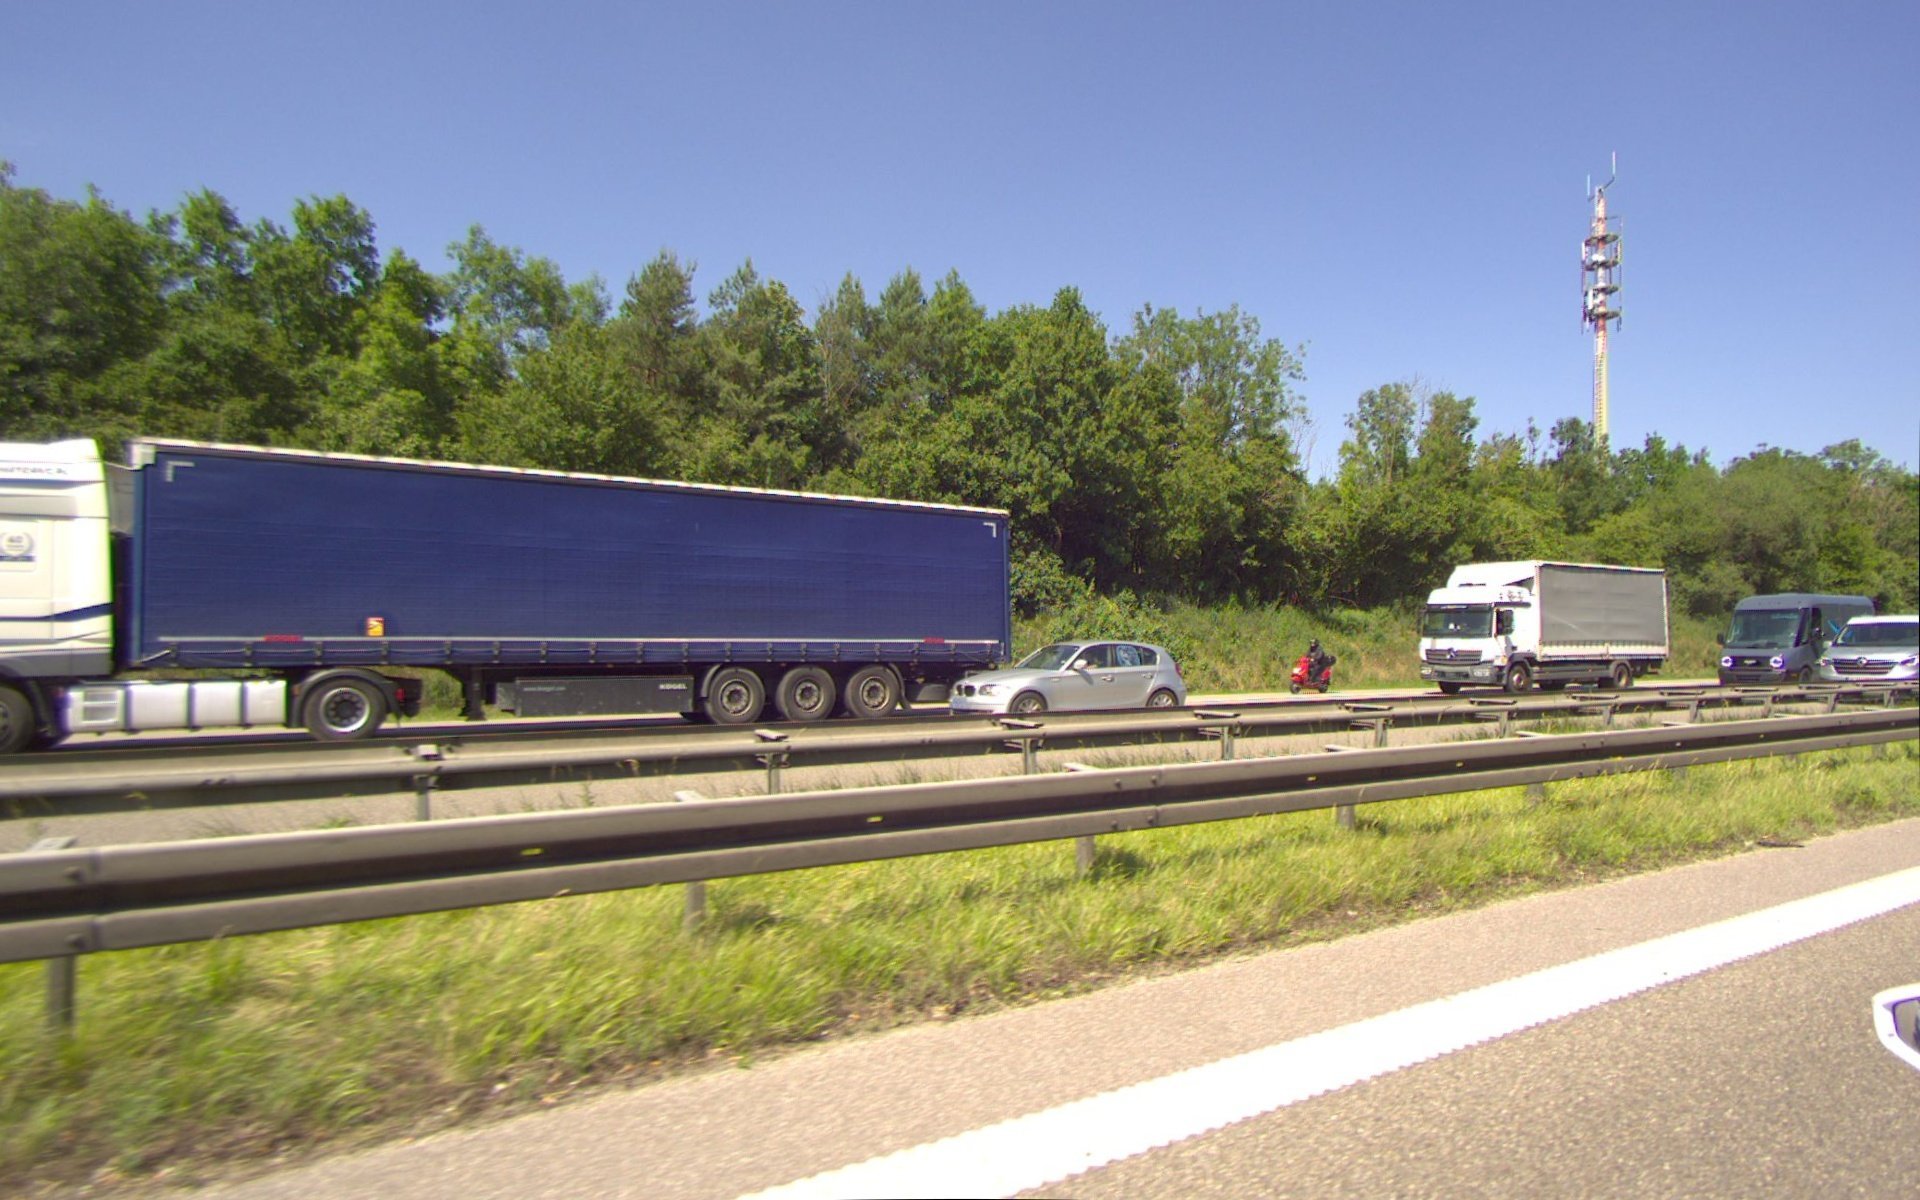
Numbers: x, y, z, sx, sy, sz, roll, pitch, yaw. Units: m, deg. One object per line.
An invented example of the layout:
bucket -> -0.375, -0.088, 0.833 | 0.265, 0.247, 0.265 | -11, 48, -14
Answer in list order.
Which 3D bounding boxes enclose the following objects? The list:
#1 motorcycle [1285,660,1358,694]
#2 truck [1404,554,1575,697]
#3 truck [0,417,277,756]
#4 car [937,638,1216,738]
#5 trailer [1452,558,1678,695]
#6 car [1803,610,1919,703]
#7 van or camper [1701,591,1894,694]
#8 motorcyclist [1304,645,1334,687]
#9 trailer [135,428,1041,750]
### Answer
motorcycle -> 10.970, 2.320, 30.489 | 2.251, 0.983, 0.821 | 1, -4, -30
truck -> 15.458, 0.787, 29.345 | 3.953, 3.859, 2.691 | 1, -3, -30
truck -> -11.789, -0.090, 13.565 | 3.953, 4.111, 2.603 | 1, -4, -30
car -> 1.970, 1.363, 16.490 | 4.451, 1.437, 1.705 | 1, -2, -30
trailer -> 19.026, 0.887, 31.468 | 7.602, 3.859, 2.700 | 1, -3, -30
car -> 22.196, 1.324, 23.655 | 5.173, 2.006, 1.919 | 1, -4, -30
van or camper -> 25.305, 1.300, 30.285 | 6.716, 2.848, 2.188 | 1, -4, -30
motorcyclist -> 10.888, 1.992, 30.438 | 0.673, 1.235, 0.545 | 1, -2, -29
trailer -> -5.076, 0.070, 17.514 | 14.003, 4.111, 2.603 | 1, -4, -31
